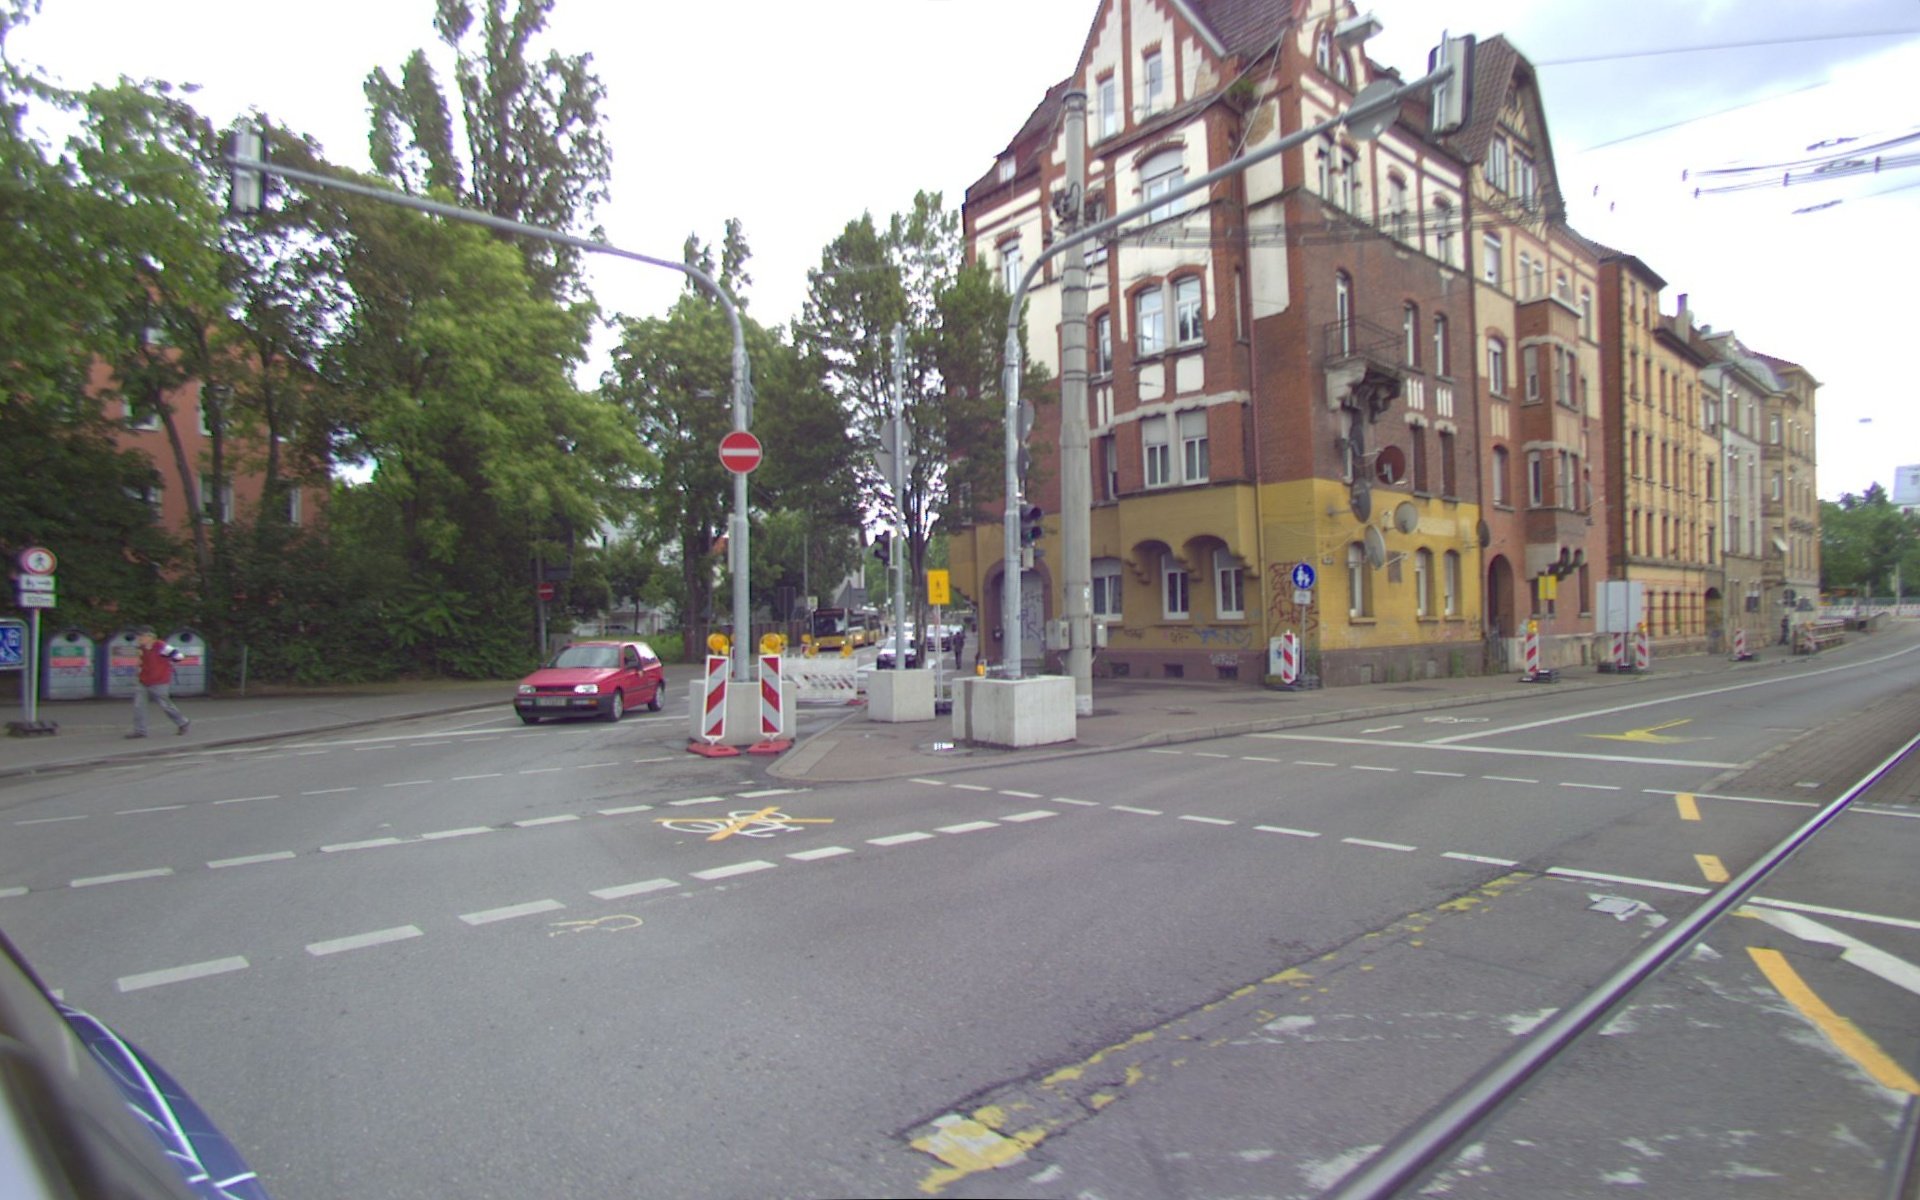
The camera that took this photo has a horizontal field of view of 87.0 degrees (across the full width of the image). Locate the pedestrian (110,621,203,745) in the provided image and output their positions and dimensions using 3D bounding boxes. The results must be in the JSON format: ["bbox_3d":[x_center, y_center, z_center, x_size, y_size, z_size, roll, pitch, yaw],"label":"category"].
[{"bbox_3d":[-12.462,1.269,15.724,0.771,1.845,0.727,1,-2,3],"label":"pedestrian"}]

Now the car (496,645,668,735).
[{"bbox_3d":[-6.809,1.572,18.723,1.824,1.433,4.175,0,-2,-3],"label":"car"}]

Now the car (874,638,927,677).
[{"bbox_3d":[-2.438,2.399,42.369,1.707,1.497,4.385,-2,-3,3],"label":"car"}]

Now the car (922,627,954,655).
[{"bbox_3d":[-1.455,2.768,68.856,1.933,1.747,4.771,-1,-2,1],"label":"car"}]

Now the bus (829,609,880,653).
[{"bbox_3d":[-8.306,2.467,80.991,2.635,3.160,10.033,-3,-2,2],"label":"bus"}]

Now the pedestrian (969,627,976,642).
[{"bbox_3d":[1.417,3.938,115.536,0.753,1.757,0.984,-3,-3,-1],"label":"pedestrian"}]

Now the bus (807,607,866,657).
[{"bbox_3d":[-8.601,2.216,71.372,2.644,3.162,9.211,-3,-2,2],"label":"bus"}]

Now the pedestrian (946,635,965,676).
[{"bbox_3d":[-0.190,2.303,42.067,0.653,1.622,0.632,-3,-2,2],"label":"pedestrian"}]

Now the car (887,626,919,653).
[{"bbox_3d":[-4.742,3.328,85.132,2.048,1.798,4.453,-3,2,4],"label":"car"}]
